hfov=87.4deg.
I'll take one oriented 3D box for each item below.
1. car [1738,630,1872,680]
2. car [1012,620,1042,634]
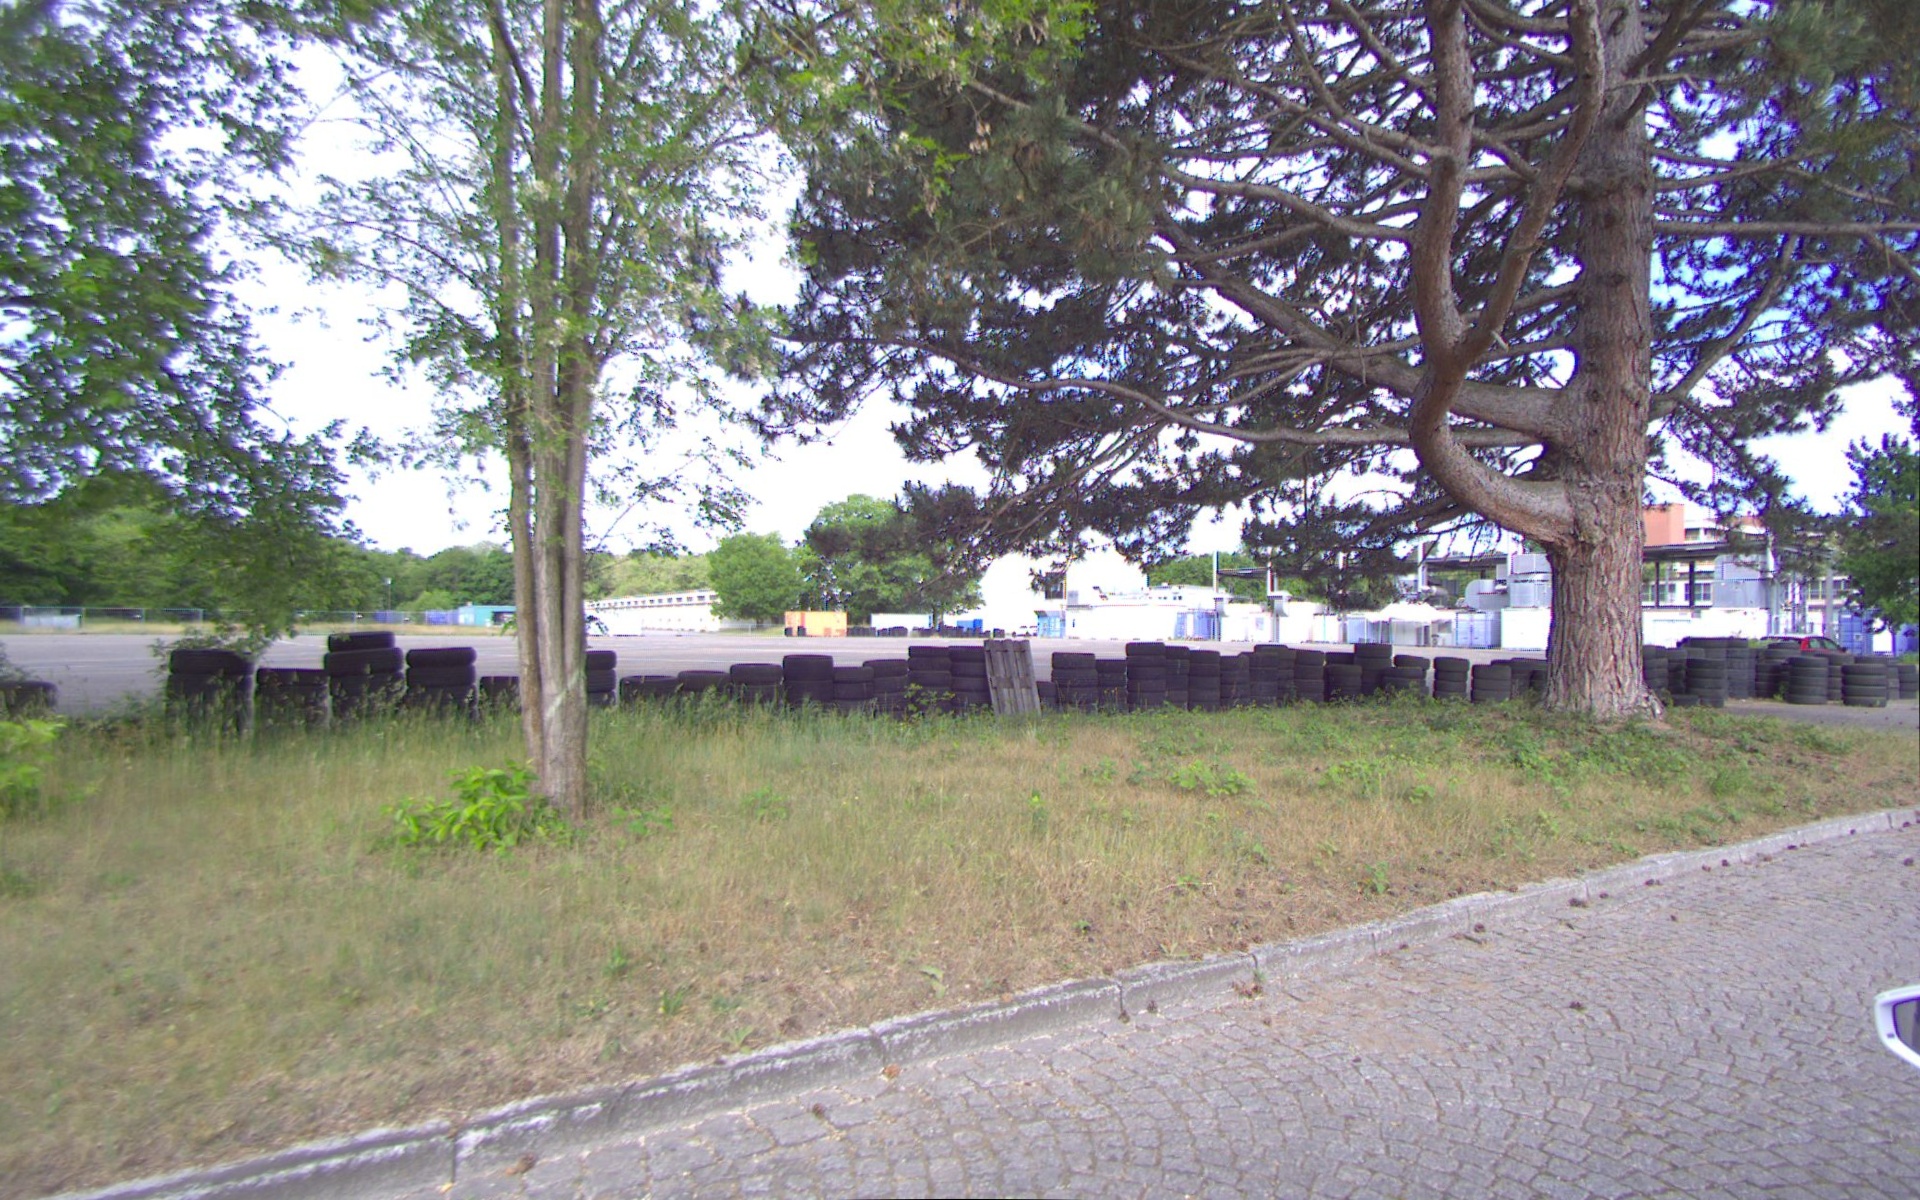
[{"bbox_3d":[25.870,1.642,30.759,4.008,1.452,1.621,1,-1,-25],"label":"car"},{"bbox_3d":[8.344,3.355,125.136,1.808,1.655,4.087,1,-1,-29],"label":"car"}]
